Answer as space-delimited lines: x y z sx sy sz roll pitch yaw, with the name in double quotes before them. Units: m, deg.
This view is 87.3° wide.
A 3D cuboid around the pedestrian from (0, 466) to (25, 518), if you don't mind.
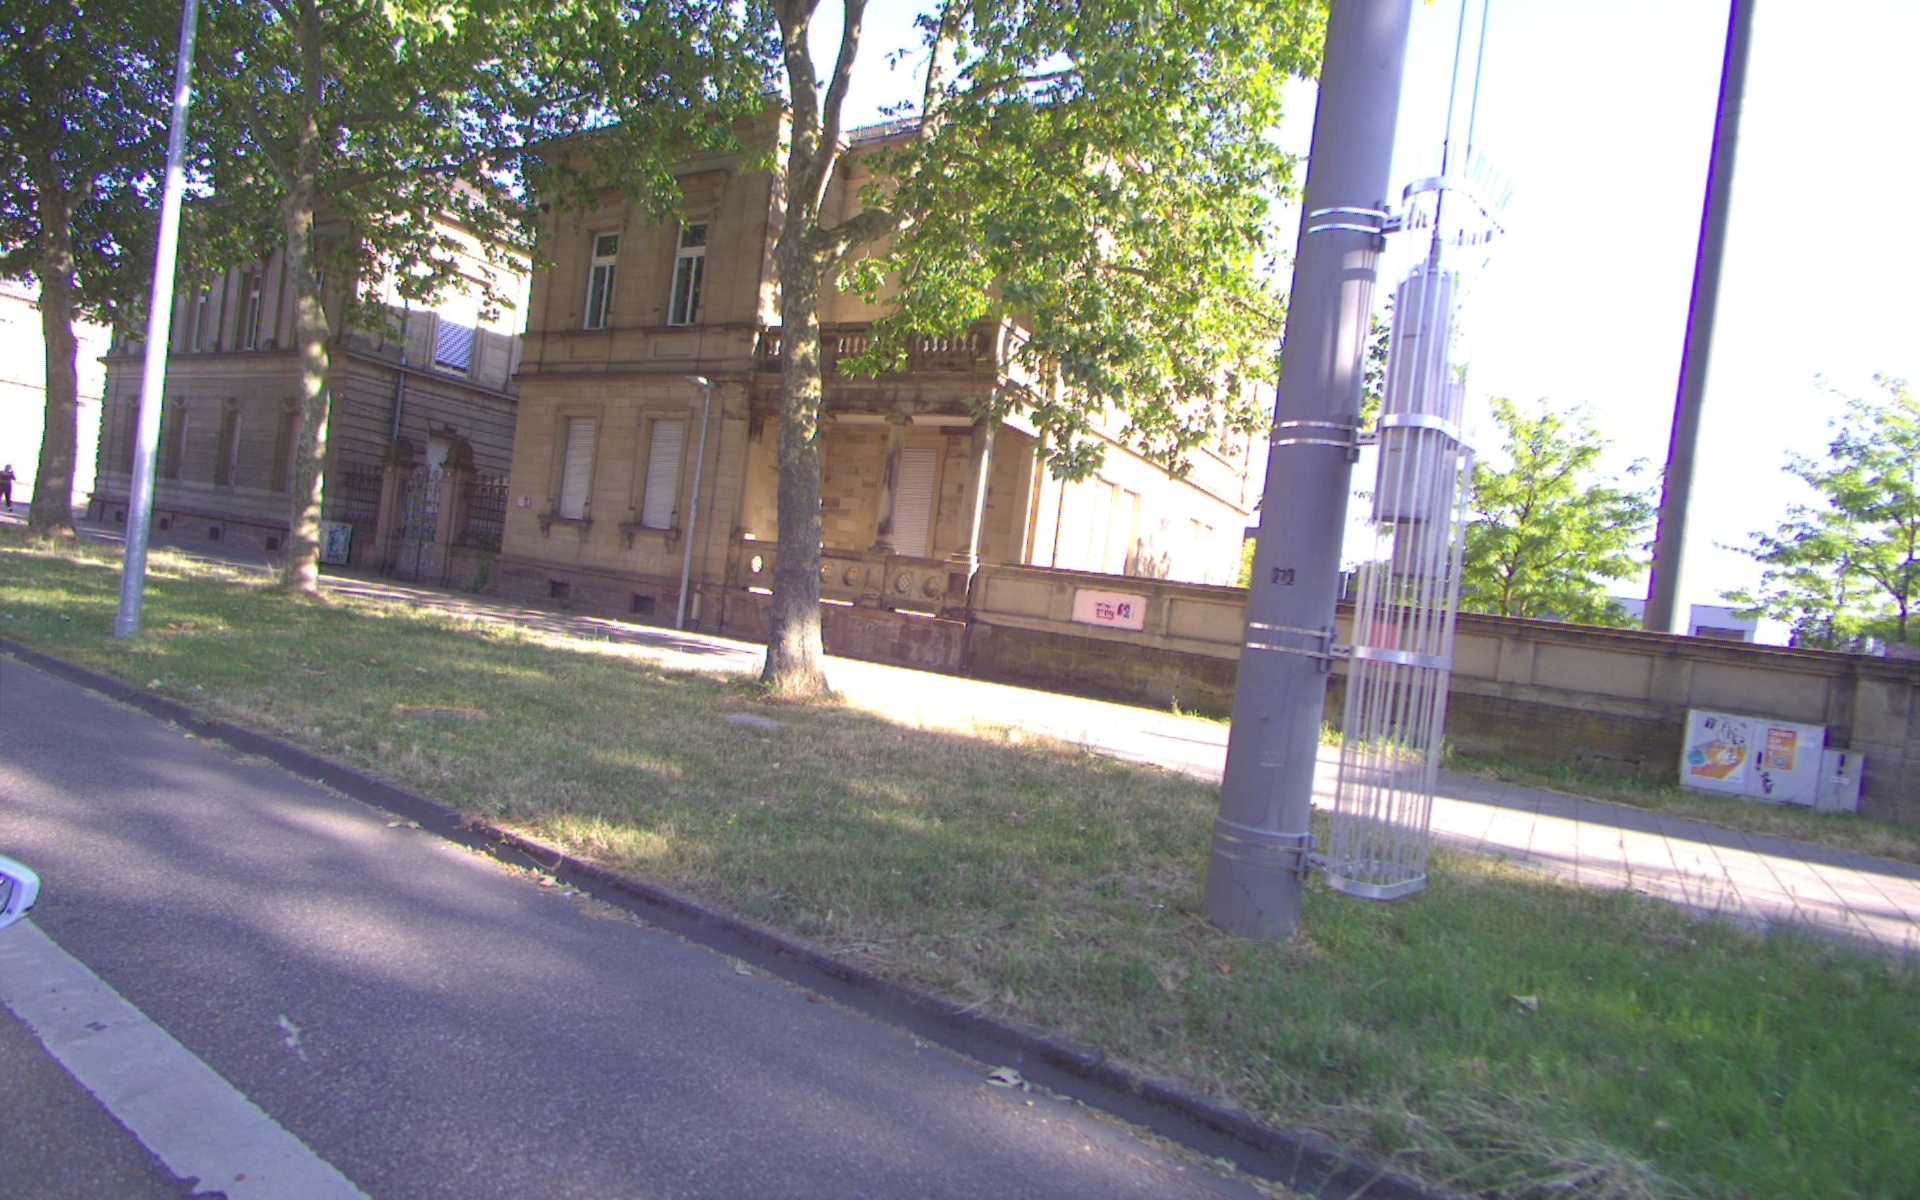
"pedestrian" -32.024 -3.643 33.674 0.970 1.626 0.770 8 2 33
